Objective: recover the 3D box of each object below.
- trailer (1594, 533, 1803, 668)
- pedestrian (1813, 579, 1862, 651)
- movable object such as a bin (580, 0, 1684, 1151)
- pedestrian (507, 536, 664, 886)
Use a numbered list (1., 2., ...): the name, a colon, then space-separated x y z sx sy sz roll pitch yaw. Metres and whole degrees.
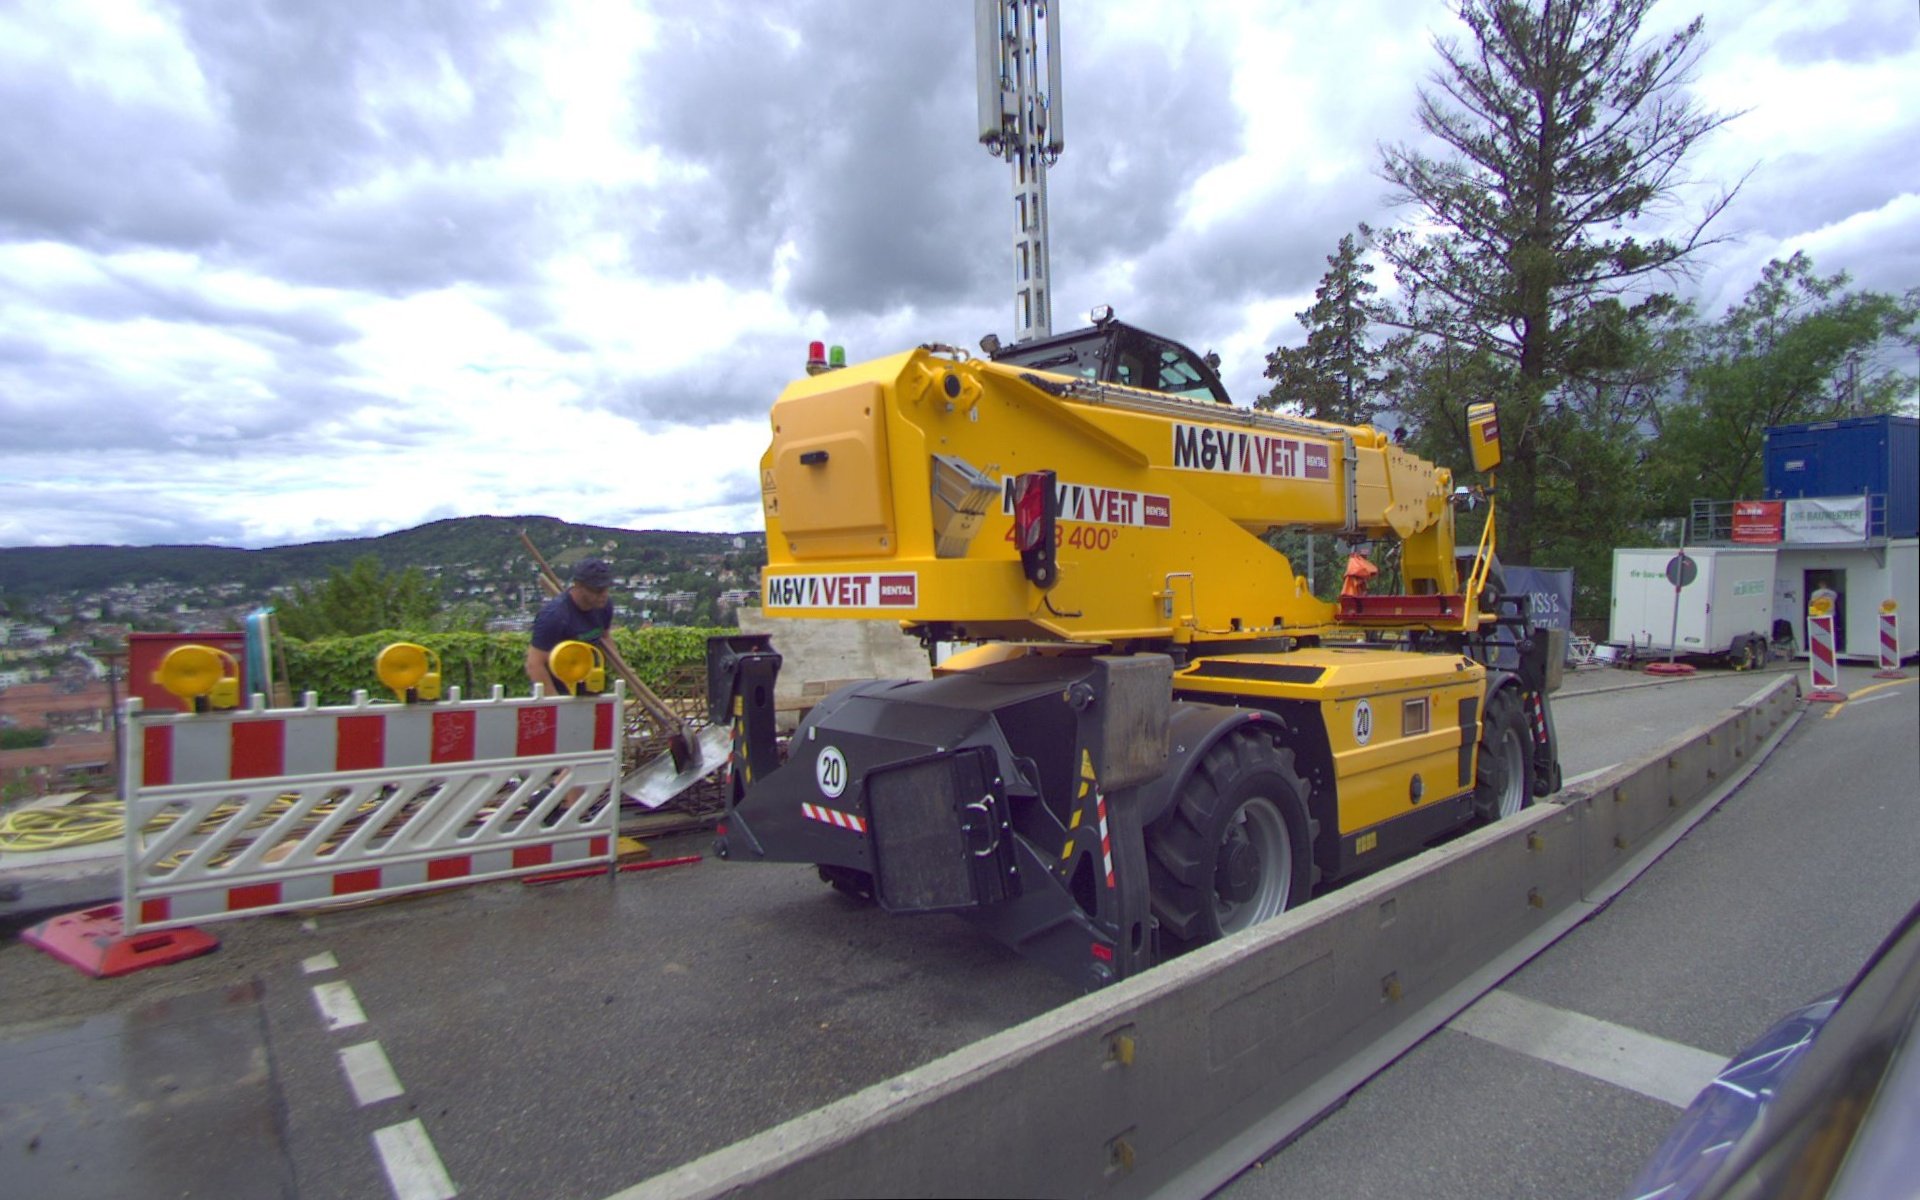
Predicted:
1. trailer: 15.859 -0.049 21.654 5.023 2.581 2.114 0 2 -36
2. pedestrian: 20.922 0.348 24.140 0.641 1.682 0.646 -1 -1 17
3. movable object such as a bin: 1.976 -0.147 6.316 7.693 3.110 2.813 0 0 -44
4. pedestrian: -2.105 0.574 5.692 0.687 1.818 0.532 0 -1 38
